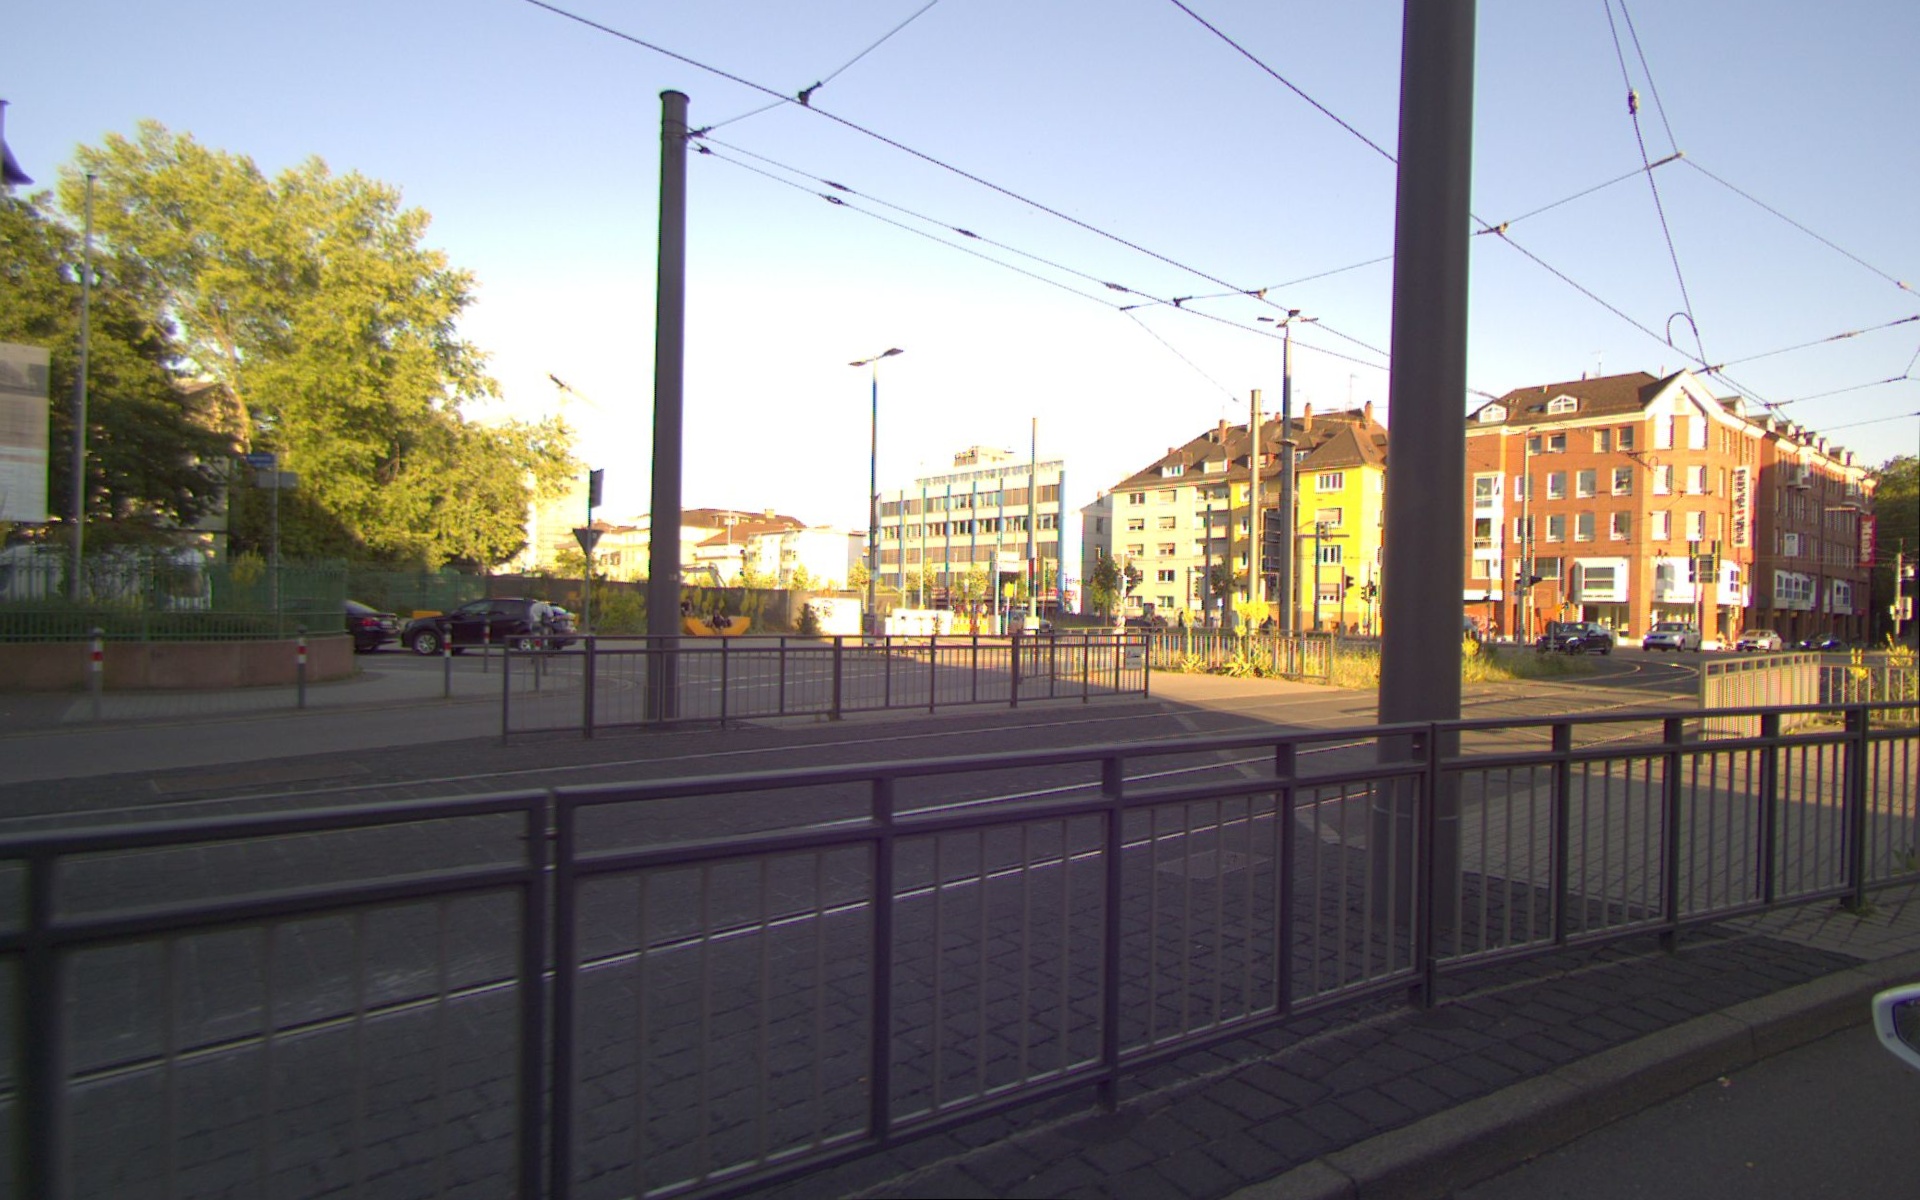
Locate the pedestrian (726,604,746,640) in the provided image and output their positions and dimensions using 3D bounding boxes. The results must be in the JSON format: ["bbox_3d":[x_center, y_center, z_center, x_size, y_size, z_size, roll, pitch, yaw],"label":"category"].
[{"bbox_3d":[-9.789,0.960,43.906,0.620,1.515,0.634,1,-1,-38],"label":"pedestrian"}]

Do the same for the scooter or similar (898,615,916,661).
[{"bbox_3d":[-1.710,1.225,32.562,0.507,1.465,1.256,1,-1,-1],"label":"scooter or similar"}]

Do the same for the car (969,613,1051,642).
[{"bbox_3d":[2.974,1.625,60.057,4.484,1.639,1.996,1,0,30],"label":"car"}]

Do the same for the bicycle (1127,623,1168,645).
[{"bbox_3d":[10.096,1.822,54.120,1.981,1.074,0.890,1,0,42],"label":"bicycle"}]

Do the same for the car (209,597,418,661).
[{"bbox_3d":[-16.523,0.729,25.868,4.016,1.506,1.998,1,-1,-5],"label":"car"}]

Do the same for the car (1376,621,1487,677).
[{"bbox_3d":[17.643,1.800,37.517,4.773,1.926,1.977,2,-1,-41],"label":"car"}]

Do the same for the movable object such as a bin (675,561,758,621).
[{"bbox_3d":[-13.895,-0.470,57.375,4.283,3.272,1.989,1,0,-24],"label":"movable object such as a bin"}]

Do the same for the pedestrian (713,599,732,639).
[{"bbox_3d":[-10.263,0.821,43.342,0.528,1.681,0.596,1,-1,45],"label":"pedestrian"}]

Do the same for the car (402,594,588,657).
[{"bbox_3d":[-12.055,0.678,26.273,3.924,1.505,1.999,1,-1,-5],"label":"car"}]

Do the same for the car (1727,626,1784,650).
[{"bbox_3d":[51.634,2.451,65.177,4.156,1.467,1.660,2,-1,-33],"label":"car"}]

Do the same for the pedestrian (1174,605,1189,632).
[{"bbox_3d":[15.582,1.319,70.635,0.708,1.893,0.883,1,-1,33],"label":"pedestrian"}]

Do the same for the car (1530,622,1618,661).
[{"bbox_3d":[27.138,1.813,44.351,4.550,1.606,1.977,2,-1,-40],"label":"car"}]

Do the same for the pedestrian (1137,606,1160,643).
[{"bbox_3d":[10.168,1.324,54.132,0.834,1.936,0.890,1,0,42],"label":"pedestrian"}]

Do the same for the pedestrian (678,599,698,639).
[{"bbox_3d":[-11.634,0.803,42.978,0.527,1.681,0.598,1,0,33],"label":"pedestrian"}]

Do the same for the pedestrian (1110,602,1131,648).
[{"bbox_3d":[6.734,1.033,42.112,0.867,1.893,0.977,1,0,10],"label":"pedestrian"}]

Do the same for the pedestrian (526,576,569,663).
[{"bbox_3d":[-9.210,0.438,22.451,0.752,1.918,0.727,1,0,-14],"label":"pedestrian"}]

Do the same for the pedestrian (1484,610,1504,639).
[{"bbox_3d":[36.520,1.654,68.695,0.930,1.893,0.834,3,2,44],"label":"pedestrian"}]

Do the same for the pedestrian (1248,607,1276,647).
[{"bbox_3d":[15.302,1.353,50.898,1.081,1.970,1.022,1,-1,34],"label":"pedestrian"}]

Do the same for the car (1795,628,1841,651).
[{"bbox_3d":[64.739,2.972,75.781,4.443,1.606,1.977,2,-1,-40],"label":"car"}]

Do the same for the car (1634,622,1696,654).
[{"bbox_3d":[37.567,1.995,53.482,4.085,1.606,1.974,2,-1,-44],"label":"car"}]

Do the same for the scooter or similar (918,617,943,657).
[{"bbox_3d":[-0.960,1.203,32.928,0.507,1.289,1.257,1,-1,13],"label":"scooter or similar"}]

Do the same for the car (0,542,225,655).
[{"bbox_3d":[-22.075,-0.026,25.352,5.322,2.665,2.097,1,0,-4],"label":"car"}]
